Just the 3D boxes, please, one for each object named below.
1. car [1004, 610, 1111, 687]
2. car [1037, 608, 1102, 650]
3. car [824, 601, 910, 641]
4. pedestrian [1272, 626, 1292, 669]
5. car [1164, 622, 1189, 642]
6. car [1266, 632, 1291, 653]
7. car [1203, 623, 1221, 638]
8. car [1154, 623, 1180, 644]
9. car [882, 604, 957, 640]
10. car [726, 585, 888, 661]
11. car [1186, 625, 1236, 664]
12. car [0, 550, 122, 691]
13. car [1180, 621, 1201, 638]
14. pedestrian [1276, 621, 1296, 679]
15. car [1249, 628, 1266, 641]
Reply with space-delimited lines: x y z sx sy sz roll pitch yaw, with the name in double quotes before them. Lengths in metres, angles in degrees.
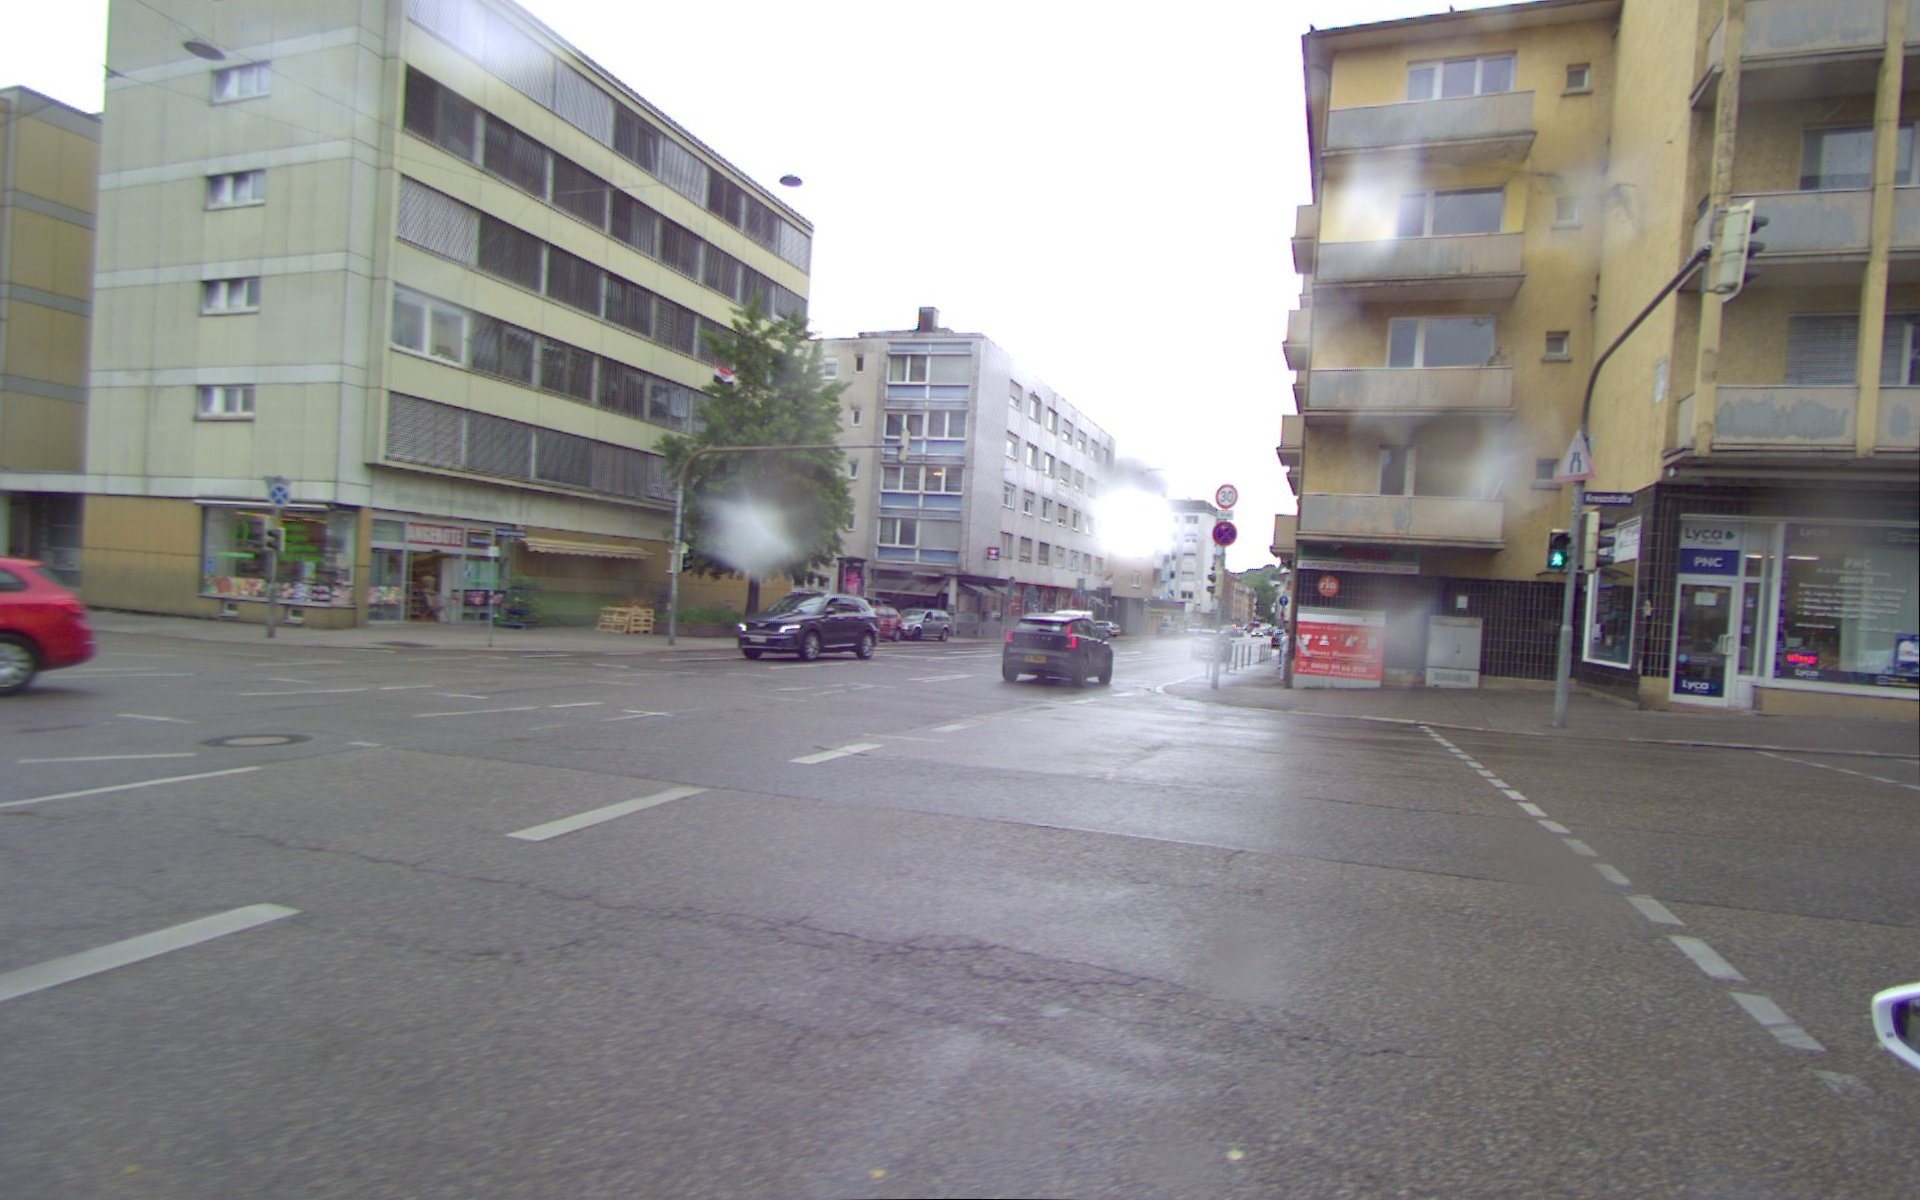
"car" 2.324 1.056 22.978 1.764 1.530 4.002 2 -1 15
"car" 5.342 1.396 48.463 1.953 1.879 4.229 2 -1 23
"car" -3.752 0.896 41.206 1.693 1.445 3.888 4 0 26
"pedestrian" 13.275 1.950 41.393 0.645 1.696 0.704 3 0 19
"car" 21.878 3.254 101.458 1.952 1.879 4.232 2 -1 18
"car" 28.894 3.829 90.979 1.952 1.725 4.572 3 -1 19
"car" 33.181 4.037 132.131 1.952 1.879 4.232 2 -1 18
"car" 19.708 3.161 95.698 1.952 1.879 4.232 2 -1 18
"car" -1.775 1.027 45.589 1.693 1.445 3.888 4 0 26
"car" -3.772 0.609 25.732 1.953 1.725 4.569 2 -1 23
"car" 12.587 2.173 50.249 1.952 1.725 4.572 3 -1 19
"car" -11.064 0.144 9.455 1.675 1.442 4.581 2 -1 23
"car" 26.497 3.377 115.482 1.952 1.879 4.232 2 -1 18
"pedestrian" 9.915 1.515 30.554 0.490 1.696 0.557 3 0 19
"car" 46.425 5.349 156.656 2.093 1.879 4.230 2 -1 22
